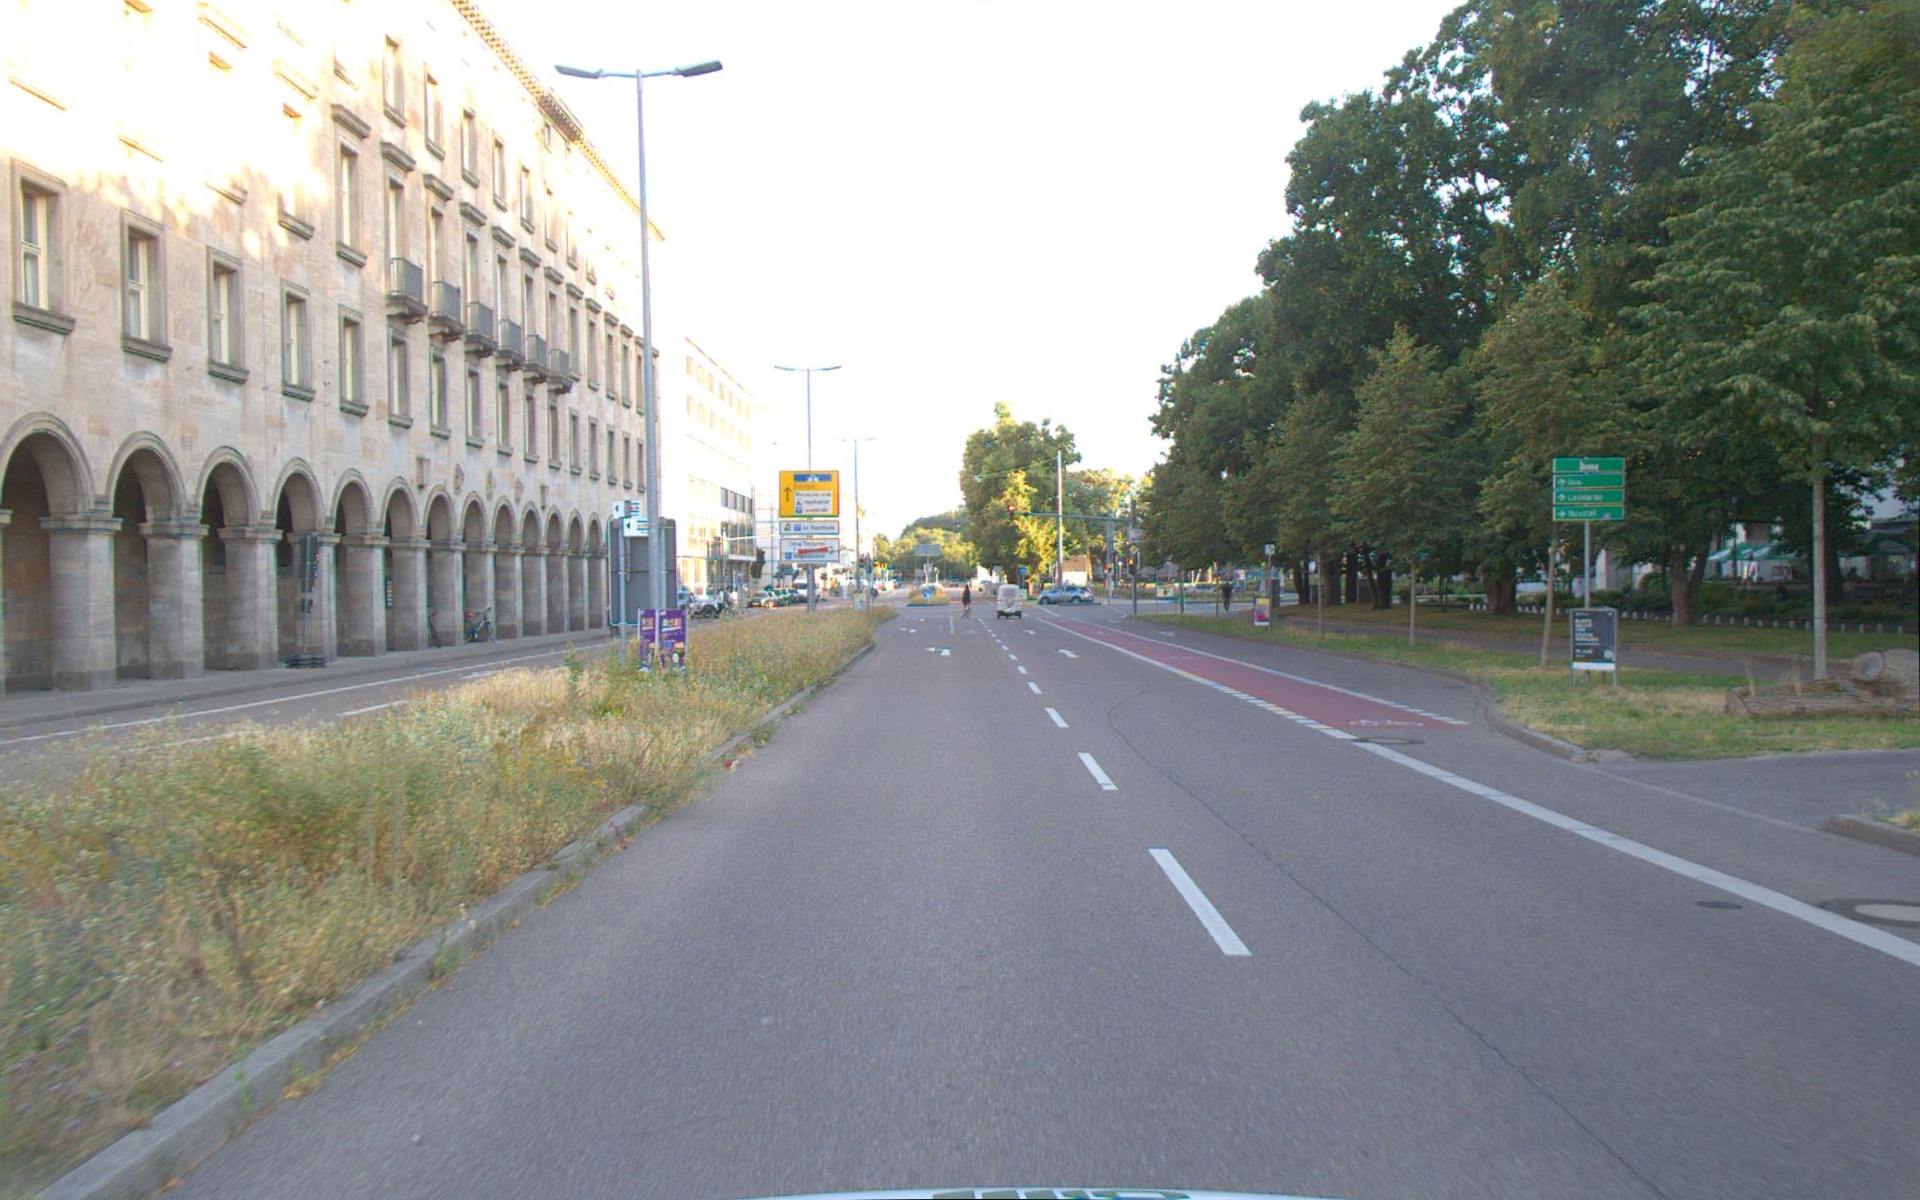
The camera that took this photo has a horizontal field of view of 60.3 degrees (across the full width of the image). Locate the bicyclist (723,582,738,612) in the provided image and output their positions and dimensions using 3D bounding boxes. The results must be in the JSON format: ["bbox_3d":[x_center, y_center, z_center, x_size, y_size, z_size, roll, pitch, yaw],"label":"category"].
[{"bbox_3d":[-13.276,-0.165,95.670,0.730,1.723,0.715,-1,0,2],"label":"bicyclist"}]

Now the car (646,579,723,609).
[{"bbox_3d":[-16.366,-0.389,98.404,4.449,1.677,1.996,-1,1,-9],"label":"car"}]

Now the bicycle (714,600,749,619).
[{"bbox_3d":[-13.209,0.530,95.661,1.857,1.087,0.731,0,0,2],"label":"bicycle"}]

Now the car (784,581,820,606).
[{"bbox_3d":[-16.755,-0.701,175.799,2.130,2.427,5.994,-2,-2,11],"label":"car"}]

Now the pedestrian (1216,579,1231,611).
[{"bbox_3d":[14.222,-0.287,89.309,0.681,1.723,0.748,-1,0,-2],"label":"pedestrian"}]

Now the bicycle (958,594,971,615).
[{"bbox_3d":[0.231,0.245,87.289,0.624,1.087,2.069,0,0,-1],"label":"bicycle"}]

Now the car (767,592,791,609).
[{"bbox_3d":[-17.817,0.078,162.790,1.758,1.501,4.001,-1,-2,3],"label":"car"}]

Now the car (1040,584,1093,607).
[{"bbox_3d":[8.100,-0.338,125.909,3.904,1.601,2.001,-1,0,2],"label":"car"}]

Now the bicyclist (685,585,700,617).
[{"bbox_3d":[-14.737,0.044,91.127,0.733,1.723,0.713,-1,0,-12],"label":"bicyclist"}]

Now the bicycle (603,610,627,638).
[{"bbox_3d":[-13.541,0.938,65.029,0.530,1.023,2.005,-1,0,-1],"label":"bicycle"}]

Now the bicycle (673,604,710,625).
[{"bbox_3d":[-14.787,0.789,91.116,1.979,1.087,0.729,-1,0,-11],"label":"bicycle"}]

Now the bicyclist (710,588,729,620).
[{"bbox_3d":[-13.445,0.223,92.399,0.730,1.723,0.765,-1,0,17],"label":"bicyclist"}]

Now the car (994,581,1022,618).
[{"bbox_3d":[2.519,-0.042,86.743,1.429,1.811,2.565,0,1,2],"label":"car"}]

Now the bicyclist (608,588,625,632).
[{"bbox_3d":[-13.548,0.386,65.241,0.525,1.723,0.748,-1,0,-1],"label":"bicyclist"}]

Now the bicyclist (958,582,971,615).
[{"bbox_3d":[0.219,-0.099,86.973,0.615,1.723,0.748,-1,0,-1],"label":"bicyclist"}]

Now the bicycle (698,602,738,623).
[{"bbox_3d":[-13.528,0.696,92.415,2.014,1.087,0.787,-1,0,16],"label":"bicycle"}]

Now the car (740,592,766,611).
[{"bbox_3d":[-18.180,0.139,145.360,1.760,1.501,3.998,-1,-2,-1],"label":"car"}]

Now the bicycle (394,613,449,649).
[{"bbox_3d":[-16.145,0.916,49.673,0.467,1.023,2.006,-1,0,18],"label":"bicycle"}]

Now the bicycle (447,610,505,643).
[{"bbox_3d":[-15.998,0.880,54.714,0.469,1.023,1.998,-1,1,35],"label":"bicycle"}]
